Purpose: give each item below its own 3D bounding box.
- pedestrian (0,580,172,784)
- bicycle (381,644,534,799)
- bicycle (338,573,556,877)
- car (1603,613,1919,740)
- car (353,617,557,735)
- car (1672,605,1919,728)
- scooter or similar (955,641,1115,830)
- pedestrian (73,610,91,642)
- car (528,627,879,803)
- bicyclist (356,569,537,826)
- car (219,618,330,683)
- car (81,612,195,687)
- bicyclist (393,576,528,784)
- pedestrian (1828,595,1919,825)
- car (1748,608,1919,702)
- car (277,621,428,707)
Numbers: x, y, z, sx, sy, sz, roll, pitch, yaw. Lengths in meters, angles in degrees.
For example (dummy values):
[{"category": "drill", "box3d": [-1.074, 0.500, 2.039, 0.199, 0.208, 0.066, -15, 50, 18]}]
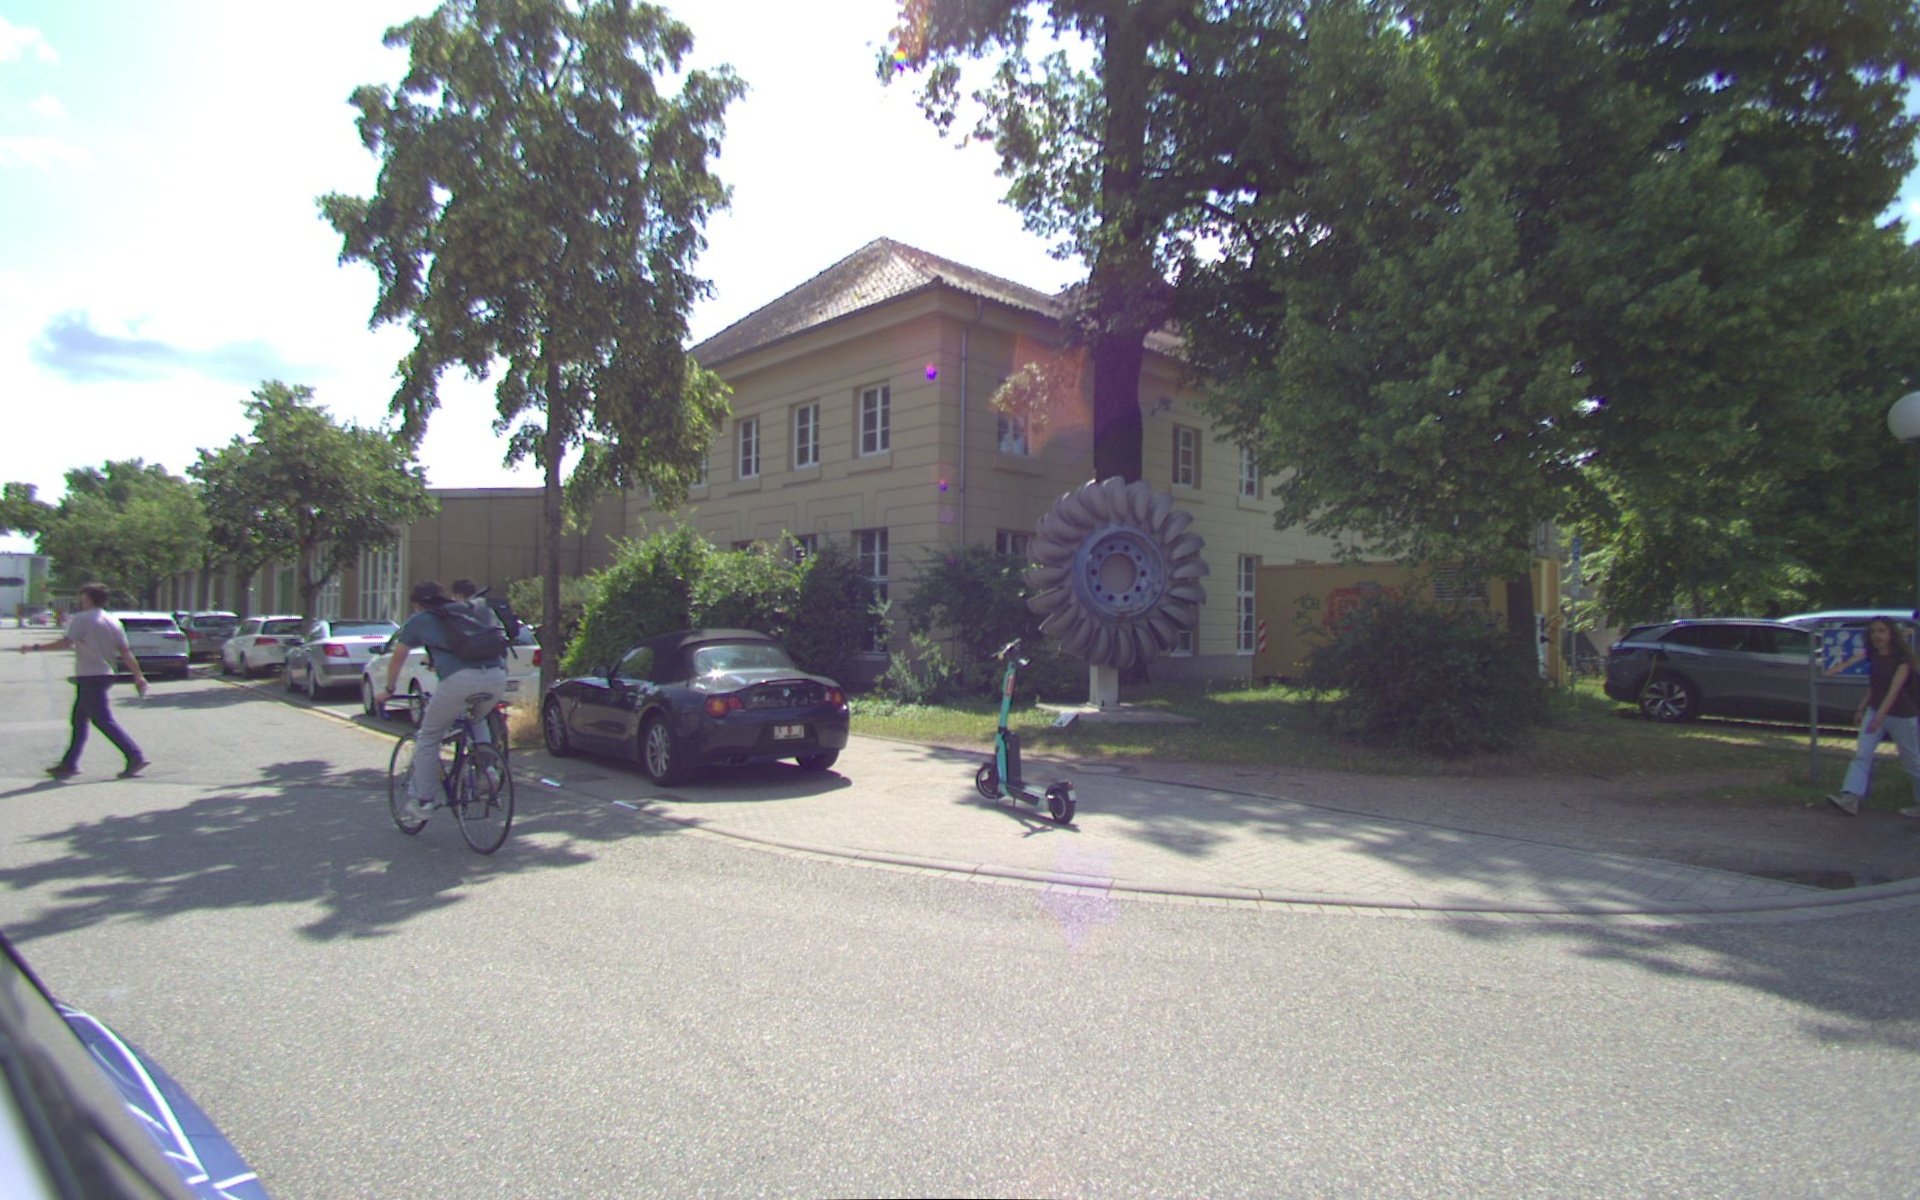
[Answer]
[{"category": "pedestrian", "box3d": [-8.313, 0.745, 9.466, 1.079, 1.800, 0.983, 0, -2, -3]}, {"category": "bicycle", "box3d": [-4.326, 0.968, 8.651, 0.617, 1.150, 1.813, 2, -2, -45]}, {"category": "bicycle", "box3d": [-3.304, 0.710, 6.446, 1.757, 1.693, 0.581, -1, -2, 40]}, {"category": "car", "box3d": [12.439, 1.053, 14.940, 1.872, 1.593, 4.654, 2, -1, -43]}, {"category": "car", "box3d": [-7.200, 0.965, 14.275, 1.611, 1.442, 3.636, 1, -2, -43]}, {"category": "car", "box3d": [14.345, 1.034, 16.576, 1.785, 1.799, 4.128, 2, -1, -43]}, {"category": "scooter or similar", "box3d": [0.515, 0.921, 7.322, 0.463, 1.225, 1.207, 2, -2, -38]}, {"category": "pedestrian", "box3d": [-45.780, 1.357, 52.769, 0.528, 1.694, 0.587, 1, -2, -28]}, {"category": "car", "box3d": [-2.583, 0.930, 9.641, 1.676, 1.305, 3.767, 2, -2, -42]}, {"category": "bicyclist", "box3d": [-3.267, 0.568, 6.408, 1.233, 1.464, 0.580, -1, -2, 41]}, {"category": "car", "box3d": [-16.771, 1.172, 24.691, 1.693, 1.444, 4.005, 1, -2, -42]}, {"category": "car", "box3d": [-20.006, 1.126, 24.558, 1.904, 1.646, 4.377, 1, -2, -42]}, {"category": "bicyclist", "box3d": [-4.269, 0.639, 8.613, 0.621, 1.618, 1.330, 2, -2, -45]}, {"category": "pedestrian", "box3d": [7.531, 0.835, 7.989, 0.956, 1.729, 0.559, 1, -1, -13]}, {"category": "car", "box3d": [20.815, 1.207, 22.810, 1.784, 1.974, 4.535, 2, -1, -40]}, {"category": "car", "box3d": [-11.210, 1.086, 18.549, 1.624, 1.387, 4.005, 1, -2, -42]}]
